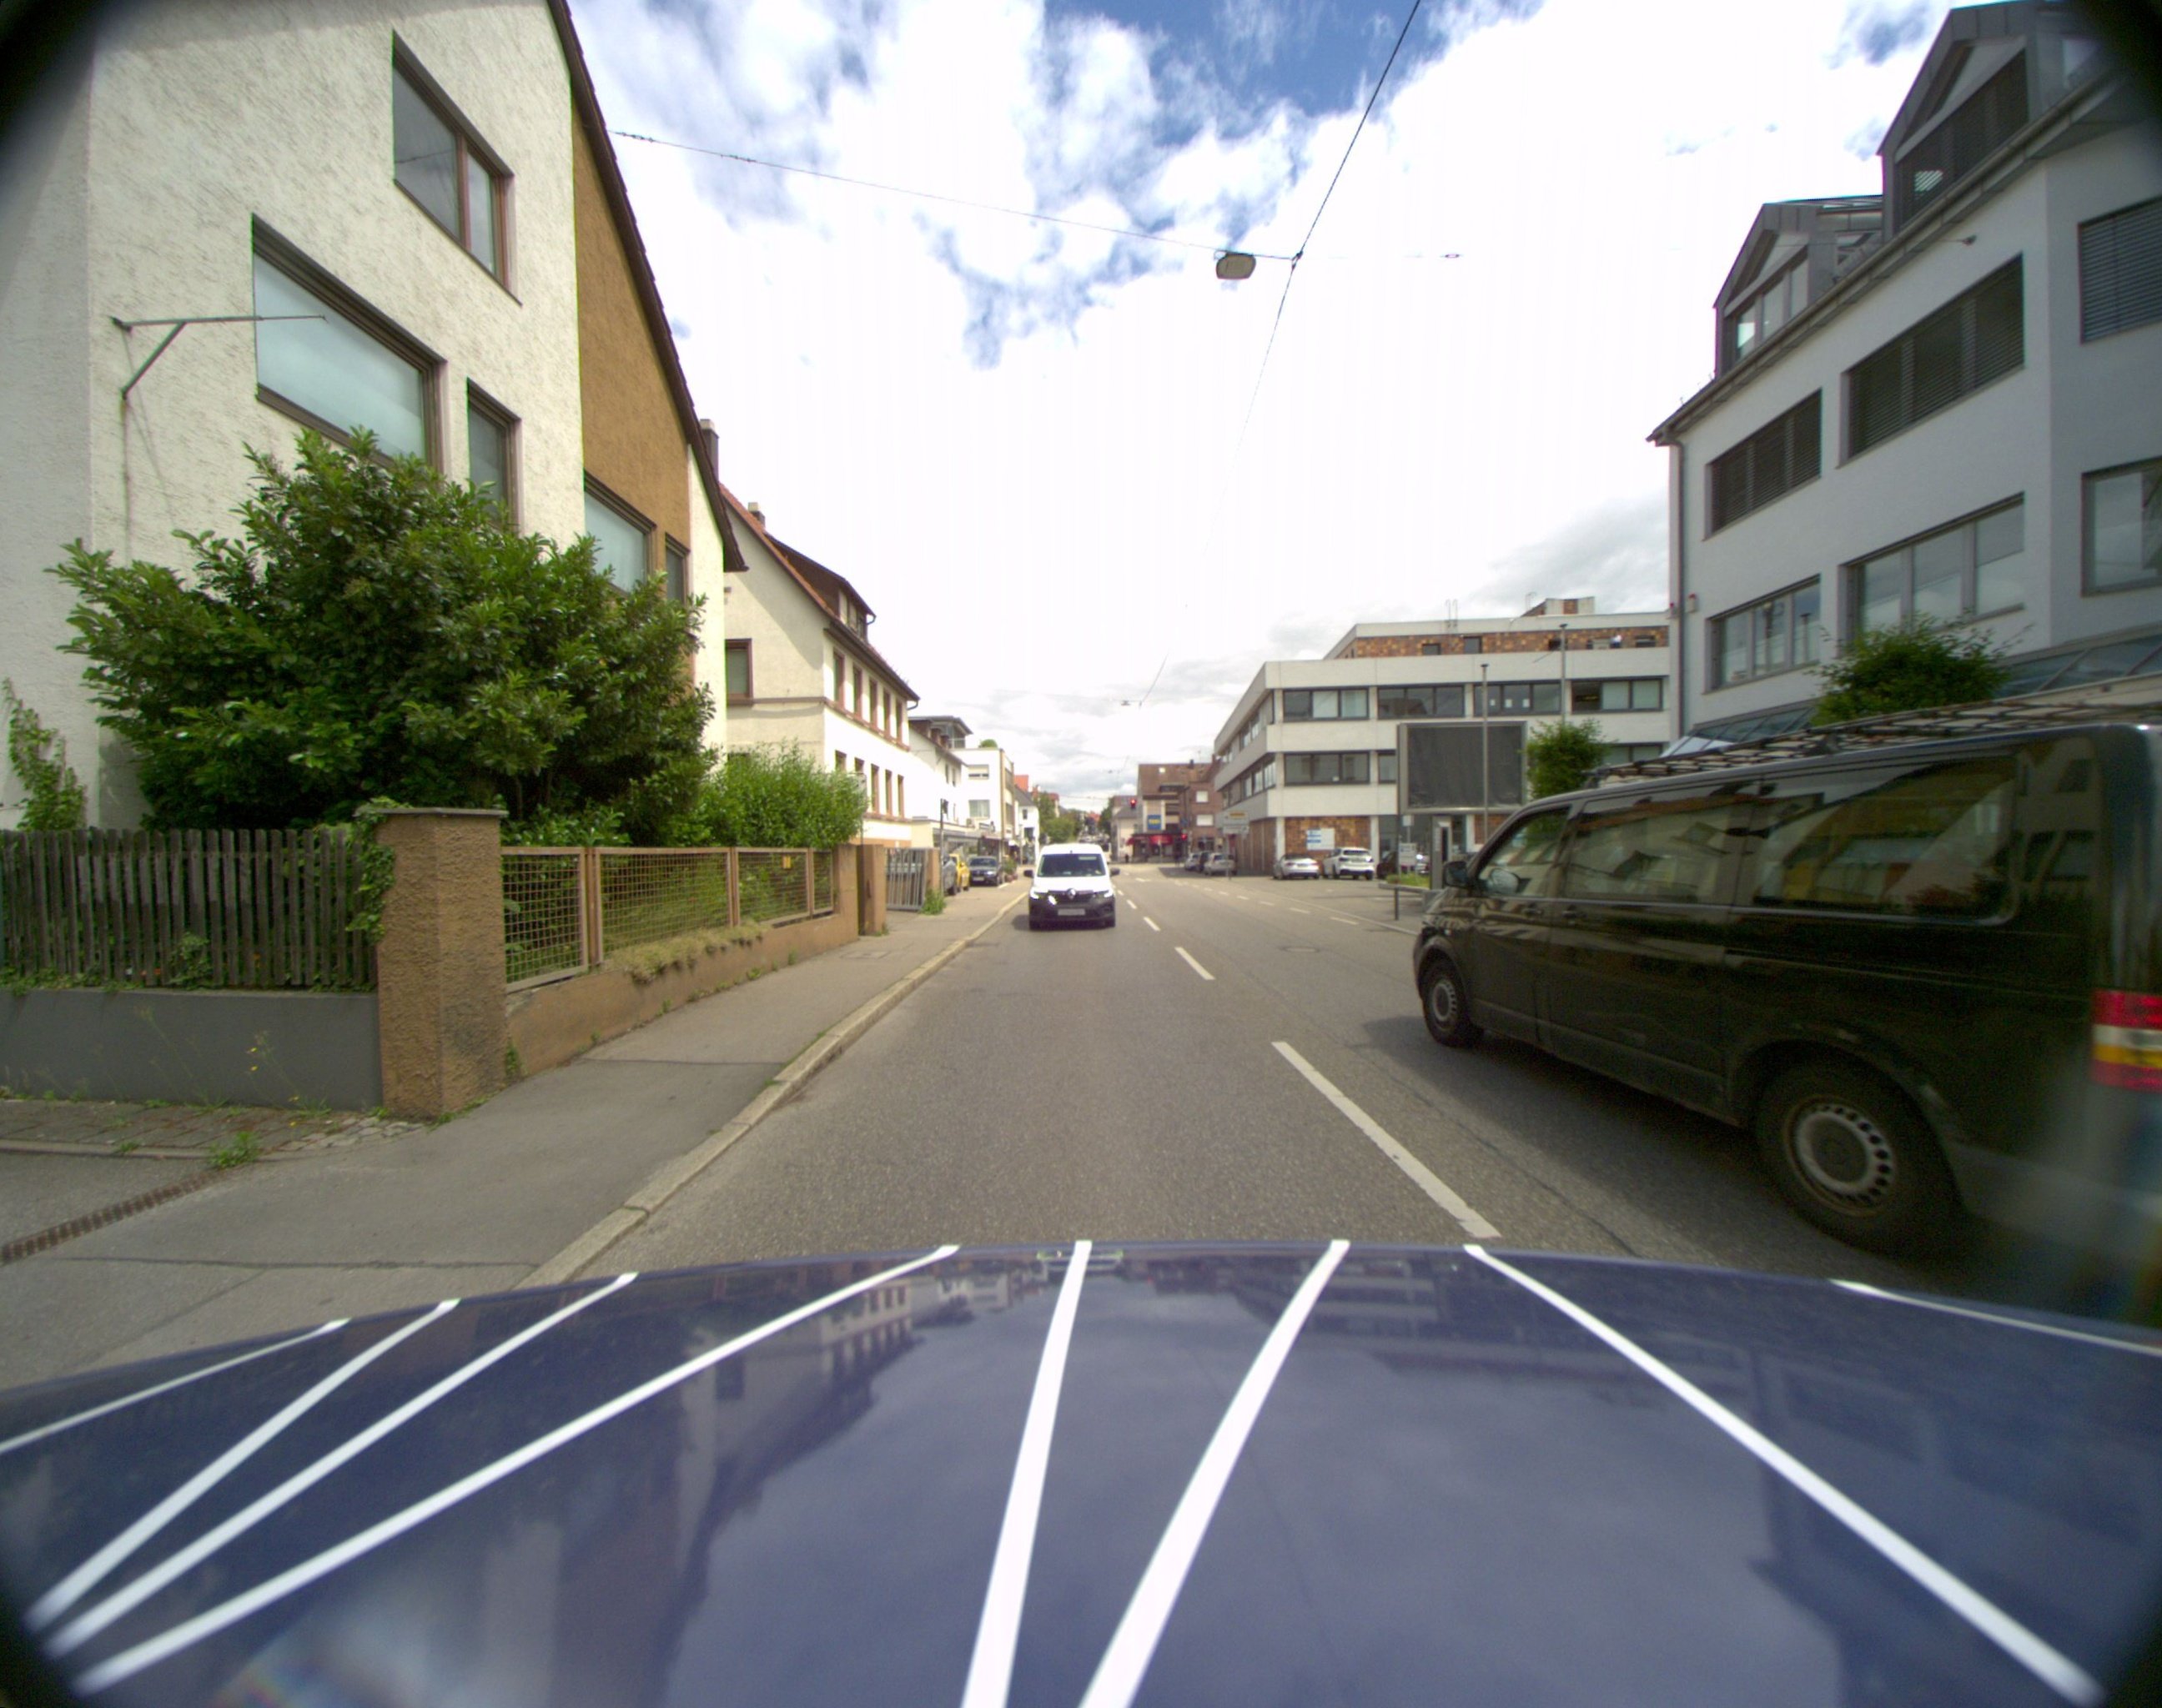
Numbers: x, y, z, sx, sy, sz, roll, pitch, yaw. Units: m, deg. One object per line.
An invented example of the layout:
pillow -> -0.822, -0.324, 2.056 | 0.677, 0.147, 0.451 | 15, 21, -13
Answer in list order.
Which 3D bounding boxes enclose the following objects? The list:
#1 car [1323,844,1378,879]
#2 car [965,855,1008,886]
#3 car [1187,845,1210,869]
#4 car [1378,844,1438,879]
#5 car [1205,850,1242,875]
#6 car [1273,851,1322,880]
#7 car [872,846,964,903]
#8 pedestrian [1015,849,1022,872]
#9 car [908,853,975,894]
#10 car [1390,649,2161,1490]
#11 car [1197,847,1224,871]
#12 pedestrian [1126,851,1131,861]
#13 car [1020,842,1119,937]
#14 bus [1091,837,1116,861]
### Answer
car -> 13.786, 0.337, 39.052 | 1.896, 1.687, 3.802 | 1, 1, 7
car -> -4.546, 0.753, 36.937 | 1.656, 1.413, 3.999 | -1, 0, -2
car -> 9.314, 0.183, 60.587 | 1.701, 1.766, 4.463 | -2, 1, 8
car -> 16.723, 0.349, 39.064 | 1.648, 1.599, 3.843 | -2, 1, 4
car -> 9.078, 0.484, 48.772 | 1.839, 1.419, 4.219 | -2, 1, 4
car -> 11.226, 0.549, 39.638 | 1.824, 1.321, 4.237 | -2, 1, 8
car -> -4.981, 0.580, 23.741 | 1.999, 1.610, 4.100 | -1, 0, -1
pedestrian -> -5.409, 0.569, 65.958 | 0.476, 2.010, 0.918 | -1, 1, 1
car -> -5.160, 0.679, 28.554 | 1.926, 1.404, 3.999 | -1, 0, -3
car -> 3.769, 0.531, 4.142 | 2.116, 2.139, 4.882 | 0, 0, -1
car -> 9.425, 0.338, 55.576 | 1.808, 1.521, 4.001 | -2, 1, 8
pedestrian -> 6.720, 0.226, 107.818 | 0.669, 1.424, 0.778 | -1, 1, 5
car -> -0.153, 0.656, 17.413 | 1.870, 1.805, 5.006 | -2, 1, 2
bus -> 3.276, -0.802, 111.726 | 3.133, 3.239, 9.748 | -2, 1, -1
